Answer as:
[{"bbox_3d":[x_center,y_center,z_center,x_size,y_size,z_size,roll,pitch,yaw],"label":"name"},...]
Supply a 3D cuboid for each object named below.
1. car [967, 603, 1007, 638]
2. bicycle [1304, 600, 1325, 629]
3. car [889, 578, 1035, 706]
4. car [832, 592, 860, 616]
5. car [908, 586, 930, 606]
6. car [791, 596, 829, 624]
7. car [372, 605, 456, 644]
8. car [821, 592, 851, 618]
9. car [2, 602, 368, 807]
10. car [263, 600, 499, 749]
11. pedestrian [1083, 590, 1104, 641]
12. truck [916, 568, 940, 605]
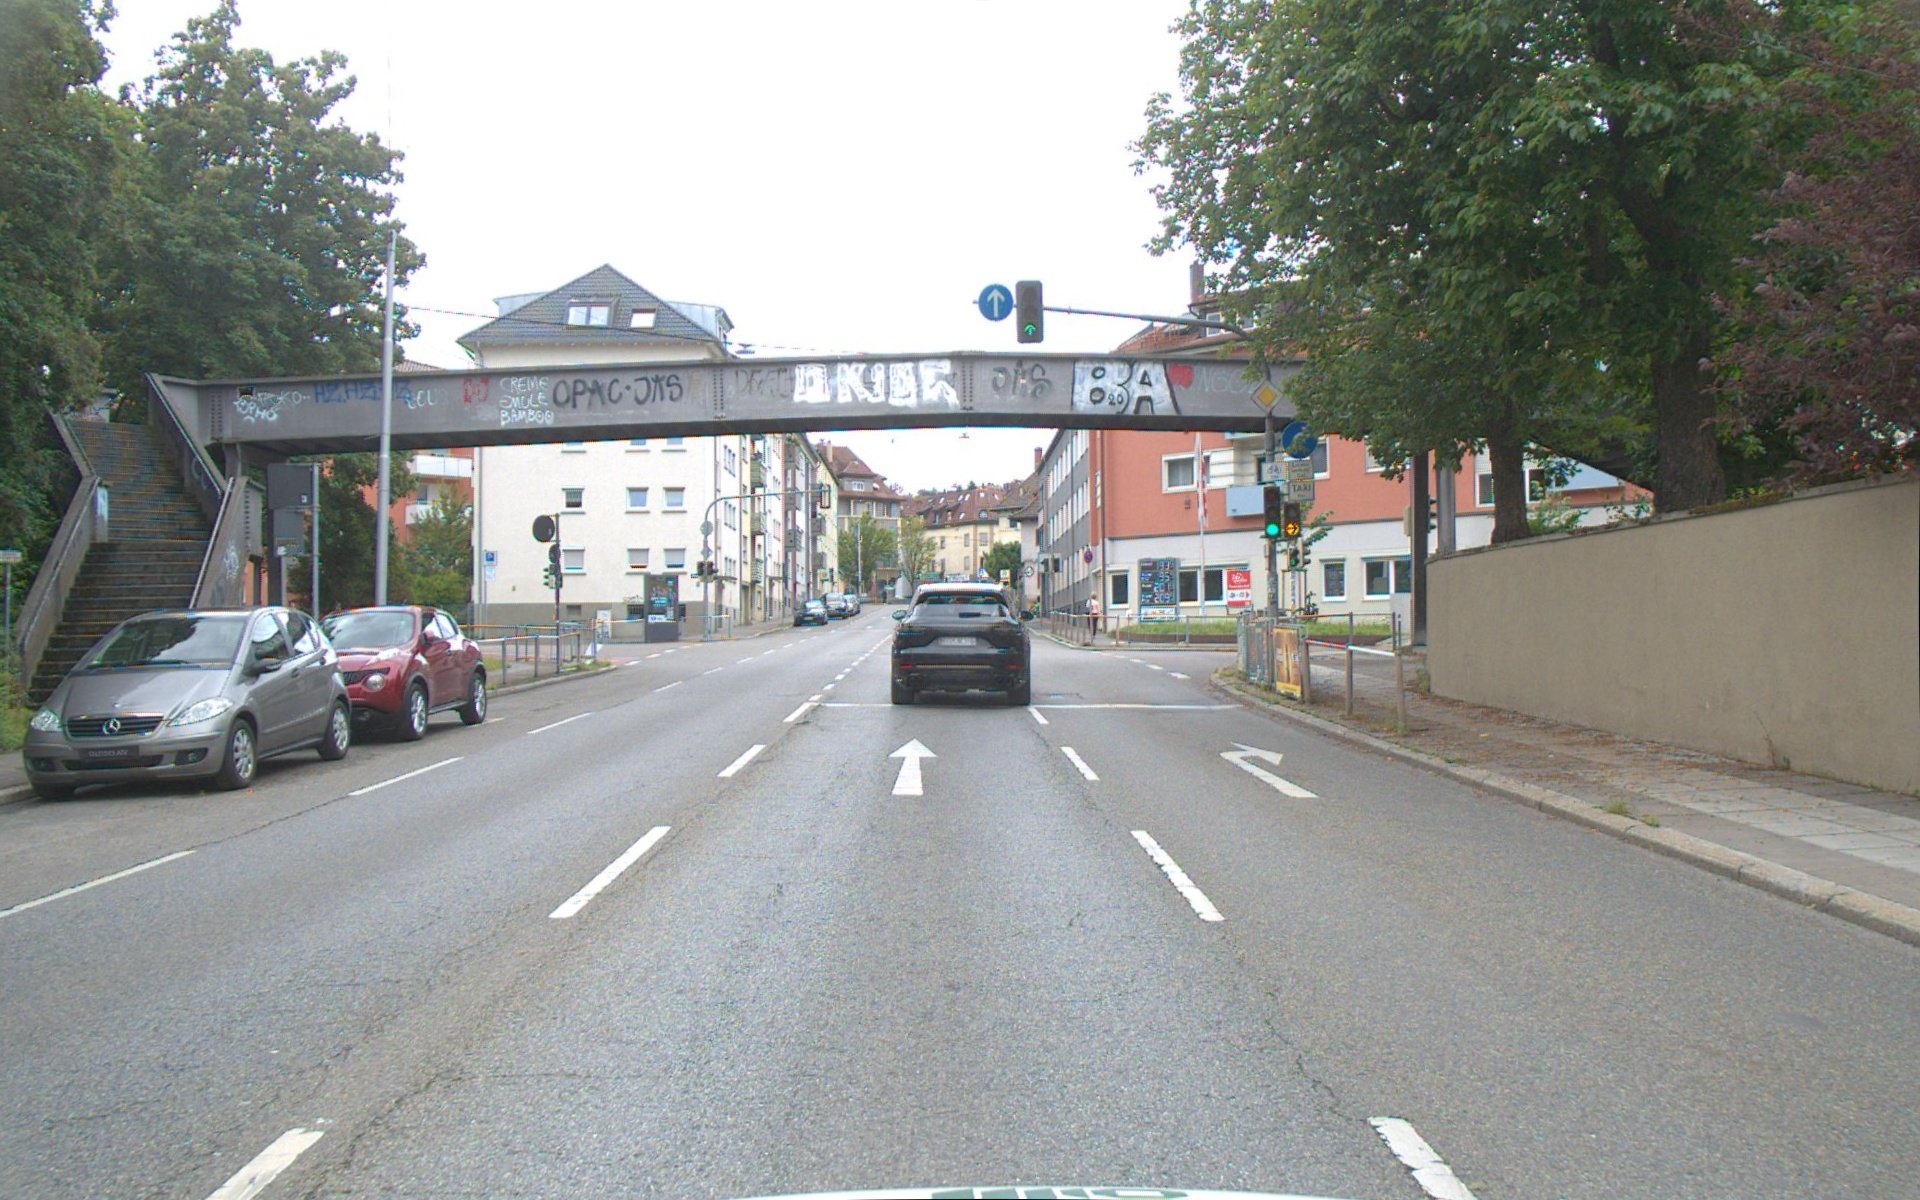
[{"bbox_3d":[1.179,0.896,73.517,1.706,1.424,4.000,0,1,-1],"label":"car"},{"bbox_3d":[11.436,0.467,53.331,0.333,0.919,1.743,0,0,22],"label":"bicycle"},{"bbox_3d":[0.008,0.534,24.084,1.953,1.691,4.000,0,1,-1],"label":"car"},{"bbox_3d":[-8.180,0.302,118.697,1.729,1.679,4.000,-1,0,0],"label":"car"},{"bbox_3d":[-3.312,-0.325,134.631,1.729,1.534,4.000,-1,0,0],"label":"car"},{"bbox_3d":[-8.422,0.556,93.139,1.729,1.534,4.000,-1,0,0],"label":"car"},{"bbox_3d":[-22.611,0.983,68.405,1.793,1.536,3.935,-1,0,-44],"label":"car"},{"bbox_3d":[-8.213,0.315,109.756,1.729,1.679,4.000,-1,0,0],"label":"car"},{"bbox_3d":[-7.095,0.860,15.613,1.711,1.596,3.906,-2,0,-3],"label":"car"},{"bbox_3d":[-6.975,0.826,20.339,1.502,1.567,3.981,-2,0,-1],"label":"car"},{"bbox_3d":[4.816,0.562,59.674,0.639,1.823,0.714,0,0,-3],"label":"pedestrian"},{"bbox_3d":[-3.068,-1.292,160.250,2.221,3.484,9.876,-1,0,-1],"label":"truck"}]
